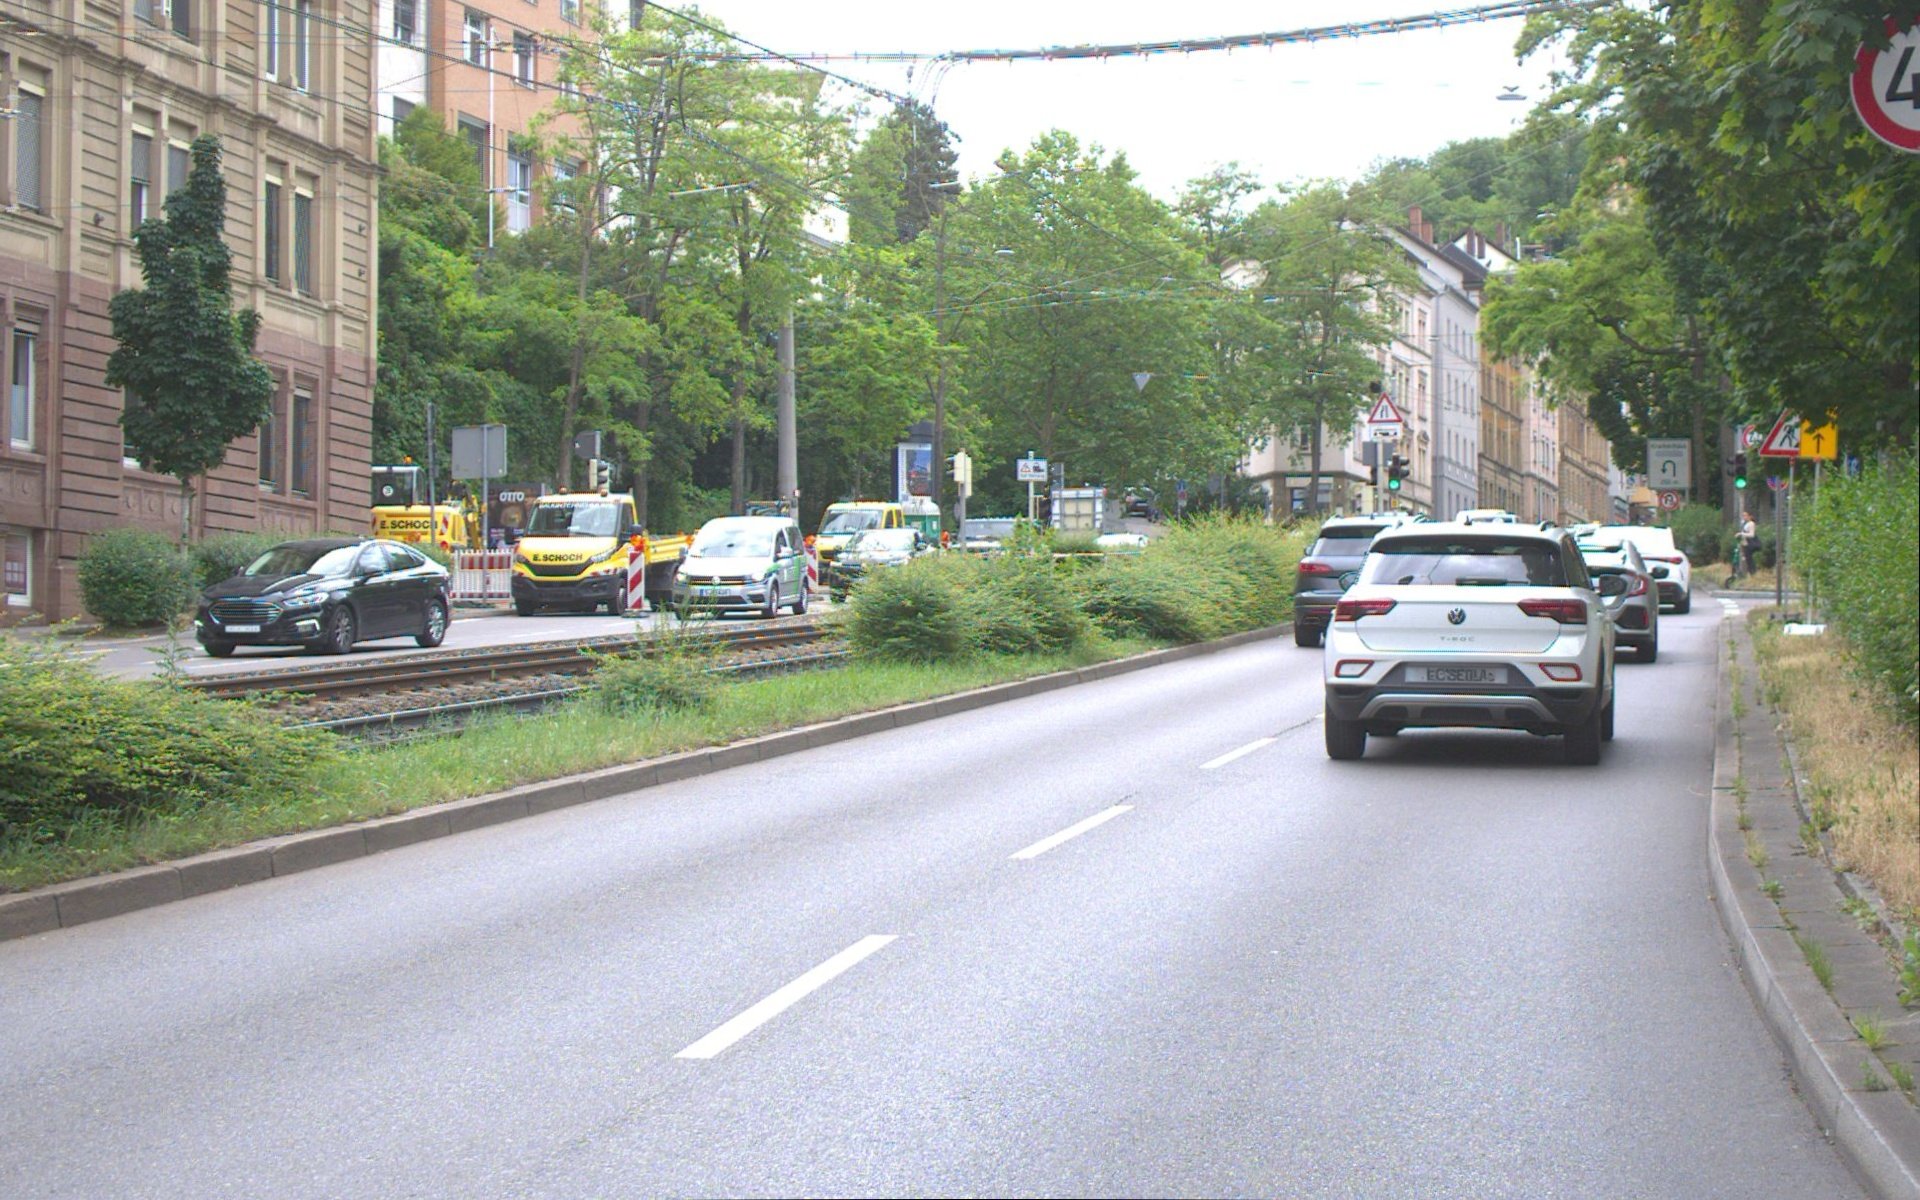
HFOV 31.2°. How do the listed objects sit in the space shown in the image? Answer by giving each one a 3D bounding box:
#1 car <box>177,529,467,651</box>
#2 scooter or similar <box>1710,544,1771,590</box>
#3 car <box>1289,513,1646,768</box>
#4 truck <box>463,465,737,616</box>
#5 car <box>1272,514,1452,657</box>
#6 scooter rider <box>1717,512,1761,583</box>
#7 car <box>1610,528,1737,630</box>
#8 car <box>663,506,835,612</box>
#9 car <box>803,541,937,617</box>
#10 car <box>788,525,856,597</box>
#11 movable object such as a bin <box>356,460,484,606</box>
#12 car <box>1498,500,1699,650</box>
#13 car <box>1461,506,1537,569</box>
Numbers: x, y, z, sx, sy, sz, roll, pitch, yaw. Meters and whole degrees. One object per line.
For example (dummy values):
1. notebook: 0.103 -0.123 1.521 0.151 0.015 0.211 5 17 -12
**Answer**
1. car: -8.124 -0.144 44.249 1.820 1.445 4.943 1 1 13
2. scooter or similar: 17.241 -0.730 75.942 1.187 0.991 0.531 -2 1 -9
3. car: 3.550 0.237 23.449 1.939 1.561 4.043 1 0 15
4. truck: -6.740 -1.066 65.553 2.919 2.501 7.149 2 -1 13
5. car: 5.258 -0.207 44.602 1.840 1.734 3.998 1 1 13
6. scooter rider: 17.207 -1.161 75.934 0.777 1.552 0.532 -1 1 -10
7. car: 12.034 -0.364 58.181 1.994 1.617 3.998 1 1 11
8. car: -3.719 -0.742 61.477 1.880 1.781 4.514 -2 1 12
9. car: -1.921 -0.446 74.735 1.866 1.549 4.435 2 0 12
10. car: -3.140 -0.900 78.398 1.188 1.581 3.089 1 1 4
11. movable object such as a bin: -10.655 -1.313 67.937 1.994 2.828 2.029 0 0 8
12. car: 7.398 -0.252 40.145 1.903 1.569 3.833 2 -1 5
13. car: 19.189 -2.200 122.188 2.423 2.162 6.031 1 1 11
